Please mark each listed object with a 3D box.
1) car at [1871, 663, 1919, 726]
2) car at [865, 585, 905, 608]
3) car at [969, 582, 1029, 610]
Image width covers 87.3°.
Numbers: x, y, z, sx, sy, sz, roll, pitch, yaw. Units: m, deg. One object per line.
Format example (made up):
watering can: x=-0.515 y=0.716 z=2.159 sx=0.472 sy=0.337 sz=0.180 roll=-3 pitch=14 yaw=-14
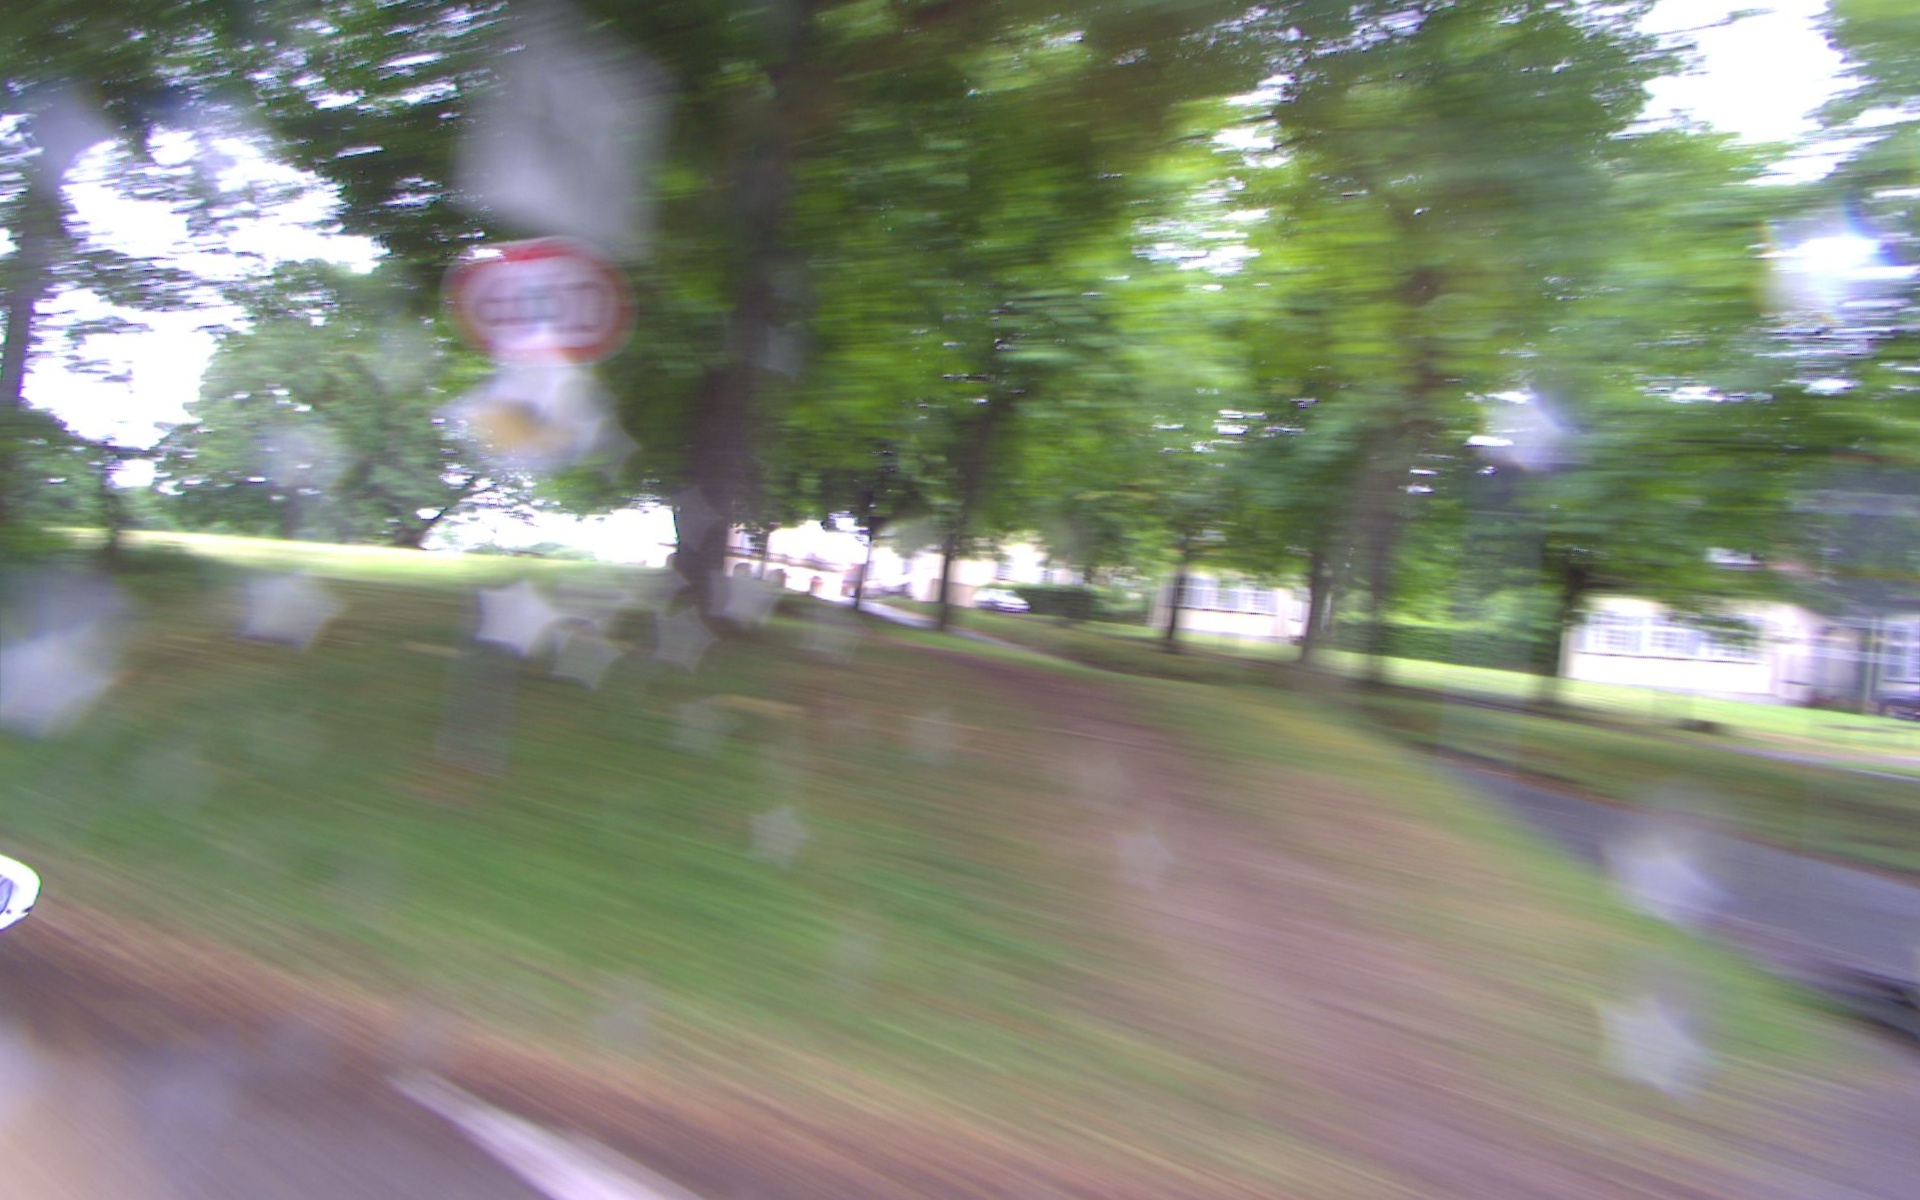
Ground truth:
car: x=31.353 y=3.106 z=30.885 sx=1.976 sy=1.856 sz=4.539 roll=7 pitch=-2 yaw=-26
car: x=-6.299 y=-0.320 z=84.002 sx=1.970 sy=1.570 sz=5.042 roll=5 pitch=0 yaw=-19
car: x=2.371 y=-0.244 z=62.386 sx=1.973 sy=1.446 sz=4.271 roll=5 pitch=0 yaw=-23
